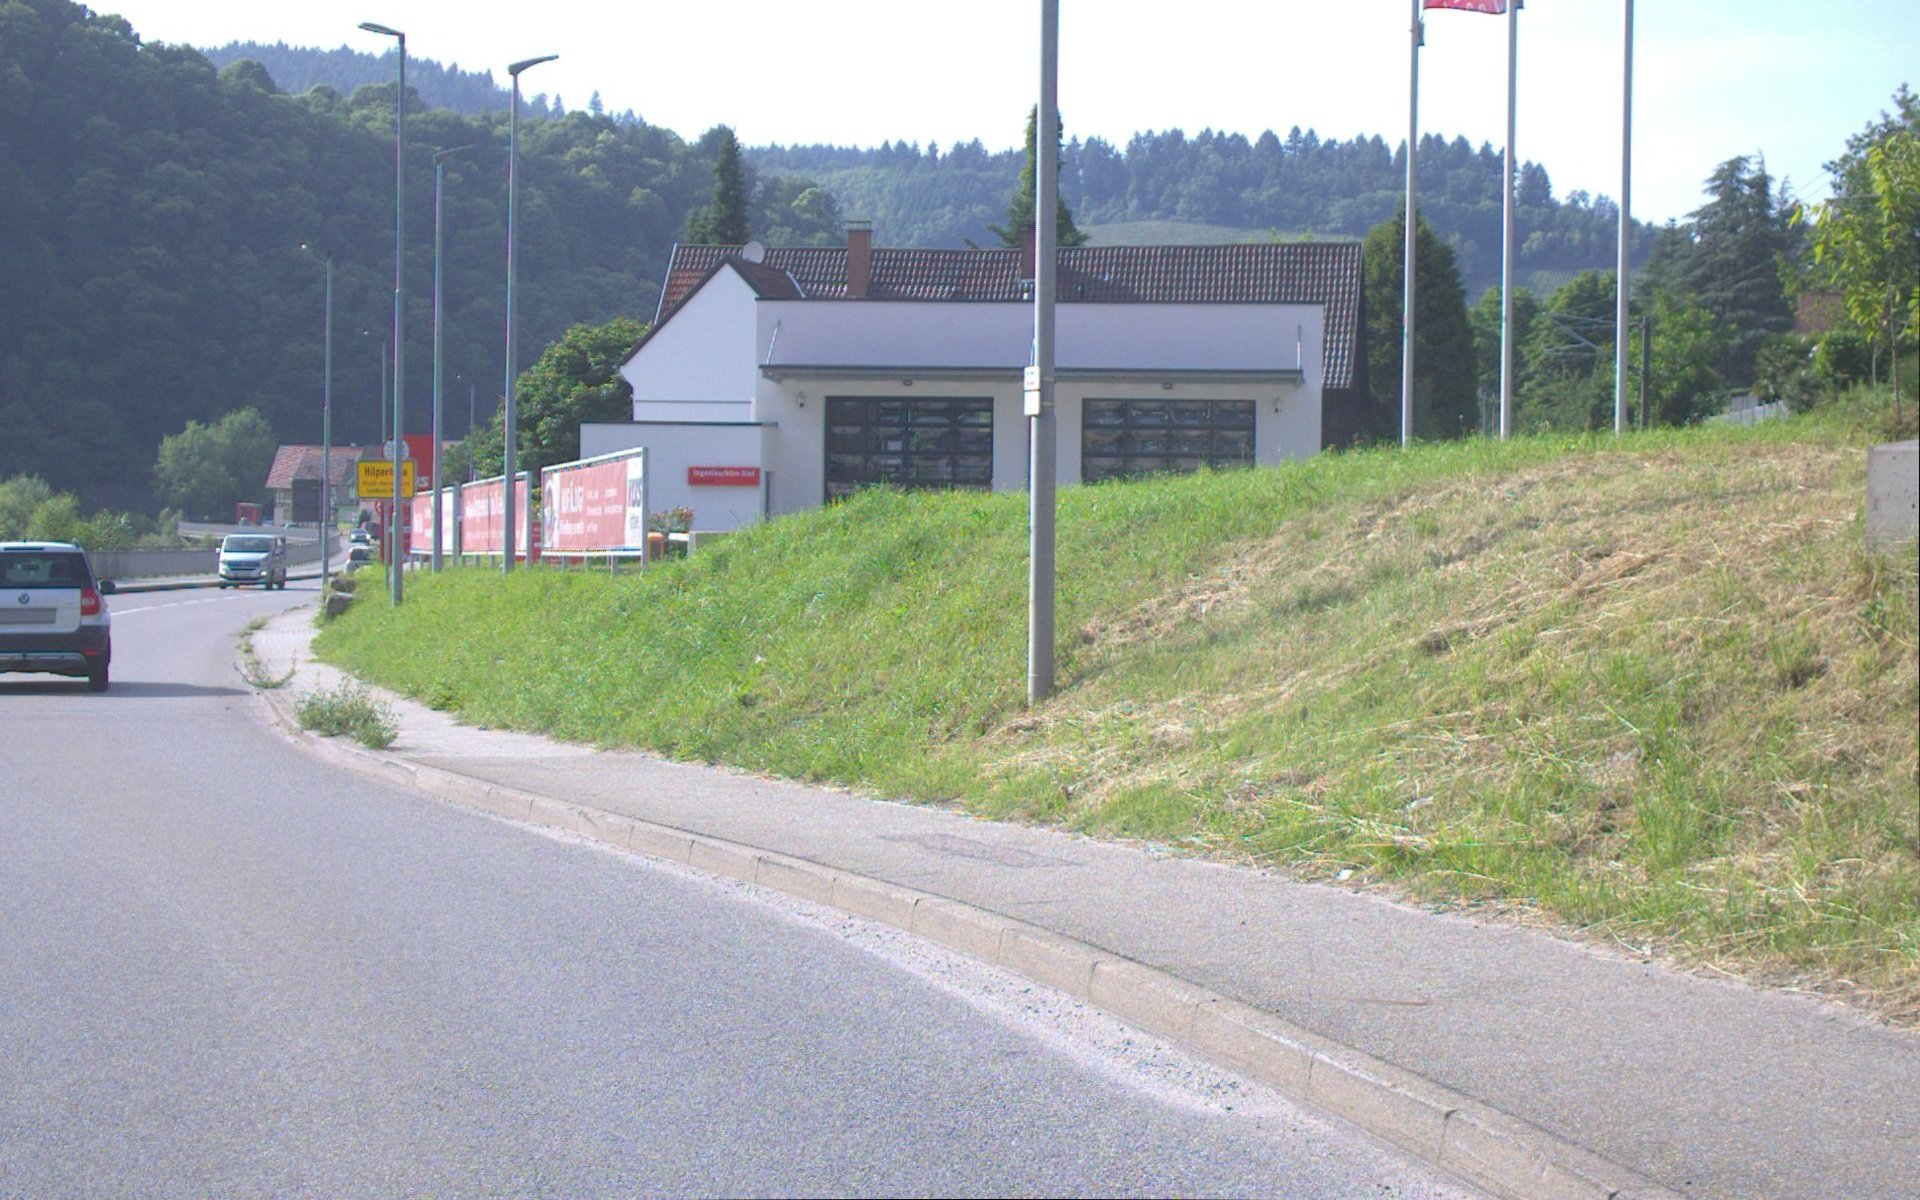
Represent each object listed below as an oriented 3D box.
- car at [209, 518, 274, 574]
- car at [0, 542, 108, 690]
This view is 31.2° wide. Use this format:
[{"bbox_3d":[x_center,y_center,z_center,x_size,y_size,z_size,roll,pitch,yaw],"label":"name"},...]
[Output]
[{"bbox_3d":[-25.945,-1.930,124.263,1.919,1.961,5.147,0,0,-7],"label":"car"},{"bbox_3d":[-10.508,0.130,38.473,1.860,1.539,4.374,1,1,-14],"label":"car"}]
